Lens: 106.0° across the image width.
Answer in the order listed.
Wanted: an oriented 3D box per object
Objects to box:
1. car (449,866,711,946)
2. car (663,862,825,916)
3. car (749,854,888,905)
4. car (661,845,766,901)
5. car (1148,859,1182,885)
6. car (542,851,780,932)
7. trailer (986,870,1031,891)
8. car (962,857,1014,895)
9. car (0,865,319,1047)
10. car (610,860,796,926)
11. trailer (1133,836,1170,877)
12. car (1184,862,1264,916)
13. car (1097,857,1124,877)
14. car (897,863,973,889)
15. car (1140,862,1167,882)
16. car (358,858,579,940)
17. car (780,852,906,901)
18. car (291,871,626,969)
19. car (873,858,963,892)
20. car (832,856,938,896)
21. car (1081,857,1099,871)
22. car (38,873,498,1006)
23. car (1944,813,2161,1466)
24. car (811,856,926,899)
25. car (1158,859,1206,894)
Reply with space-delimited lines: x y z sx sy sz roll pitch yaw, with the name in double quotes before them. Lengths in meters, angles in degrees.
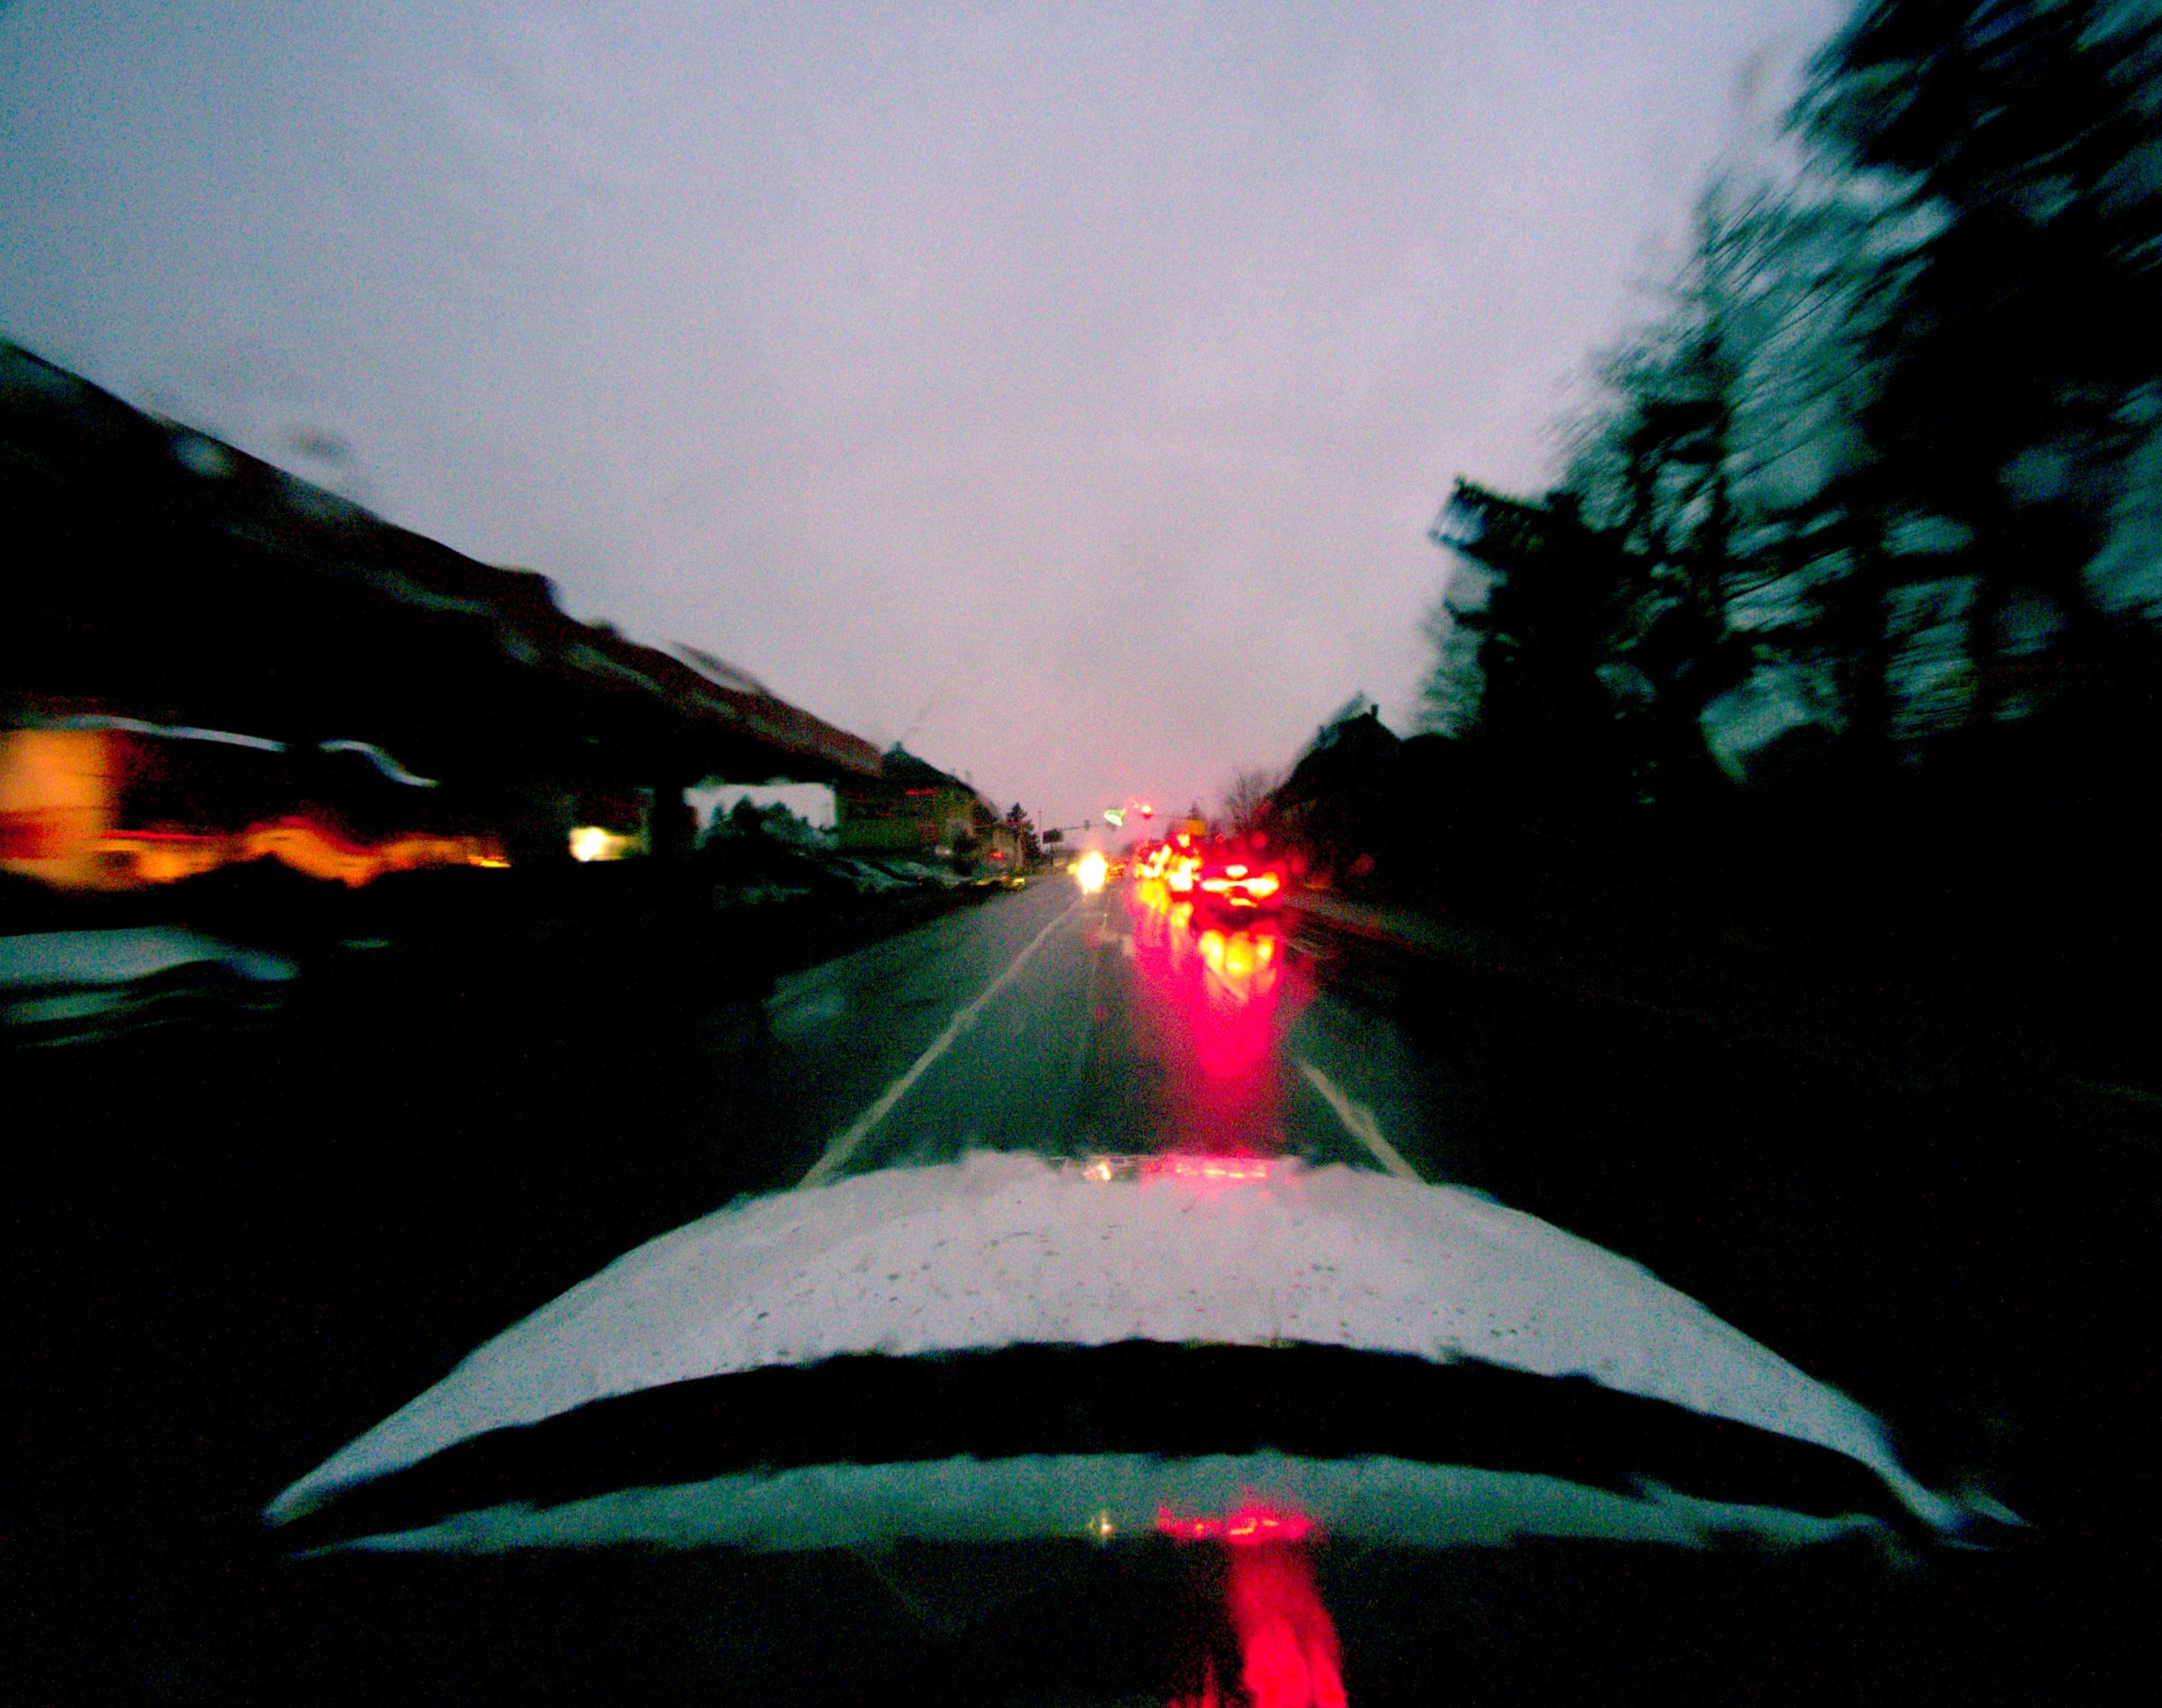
"car" -9.424 0.952 15.558 3.844 1.346 1.840 -1 0 1
"car" -9.587 0.974 23.384 3.844 1.441 1.840 -1 0 1
"car" -9.426 0.902 29.496 4.260 1.662 2.001 2 0 2
"car" -13.307 0.676 29.764 1.879 1.869 4.001 -1 -1 1
"car" 5.200 1.099 50.878 1.829 1.568 4.505 0 -1 2
"car" -9.270 0.791 18.254 4.265 1.656 1.981 -1 0 1
"trailer" -4.427 1.633 50.678 1.986 1.039 6.107 -2 0 2
"car" -4.816 1.105 42.876 1.963 1.830 4.515 -2 0 2
"car" -9.851 0.826 7.484 3.844 1.410 1.944 0 0 1
"car" -9.556 0.962 20.799 3.844 1.559 1.840 -1 0 1
"trailer" 5.930 0.271 69.745 2.478 3.241 10.872 0 -1 2
"car" 3.943 0.921 23.123 1.634 1.366 4.772 -1 -1 3
"car" 2.506 1.089 69.794 2.041 1.573 4.701 -2 -1 -1
"car" -8.133 1.233 45.521 3.878 1.428 1.721 0 -1 2
"car" 5.179 1.270 58.507 1.656 1.439 4.383 0 -1 2
"car" -13.986 0.948 18.977 1.881 1.656 4.150 -1 0 2
"car" -9.344 0.855 32.216 4.260 1.764 2.001 2 0 2
"car" -9.633 0.982 12.832 3.844 1.346 1.840 -1 0 1
"car" -8.525 1.107 42.843 4.260 1.627 2.001 2 0 2
"car" -8.960 0.978 37.457 4.260 1.662 2.138 2 0 2
"car" 1.244 1.329 111.657 1.984 1.746 4.006 -3 -1 5
"car" -9.804 0.980 10.069 3.844 1.406 1.840 -1 0 1
"car" 3.362 0.671 0.194 1.701 1.576 4.467 -1 0 3
"car" -8.989 0.962 34.708 4.260 1.662 2.001 2 0 2
"car" 4.170 0.892 34.154 1.647 1.336 4.274 -1 0 2
